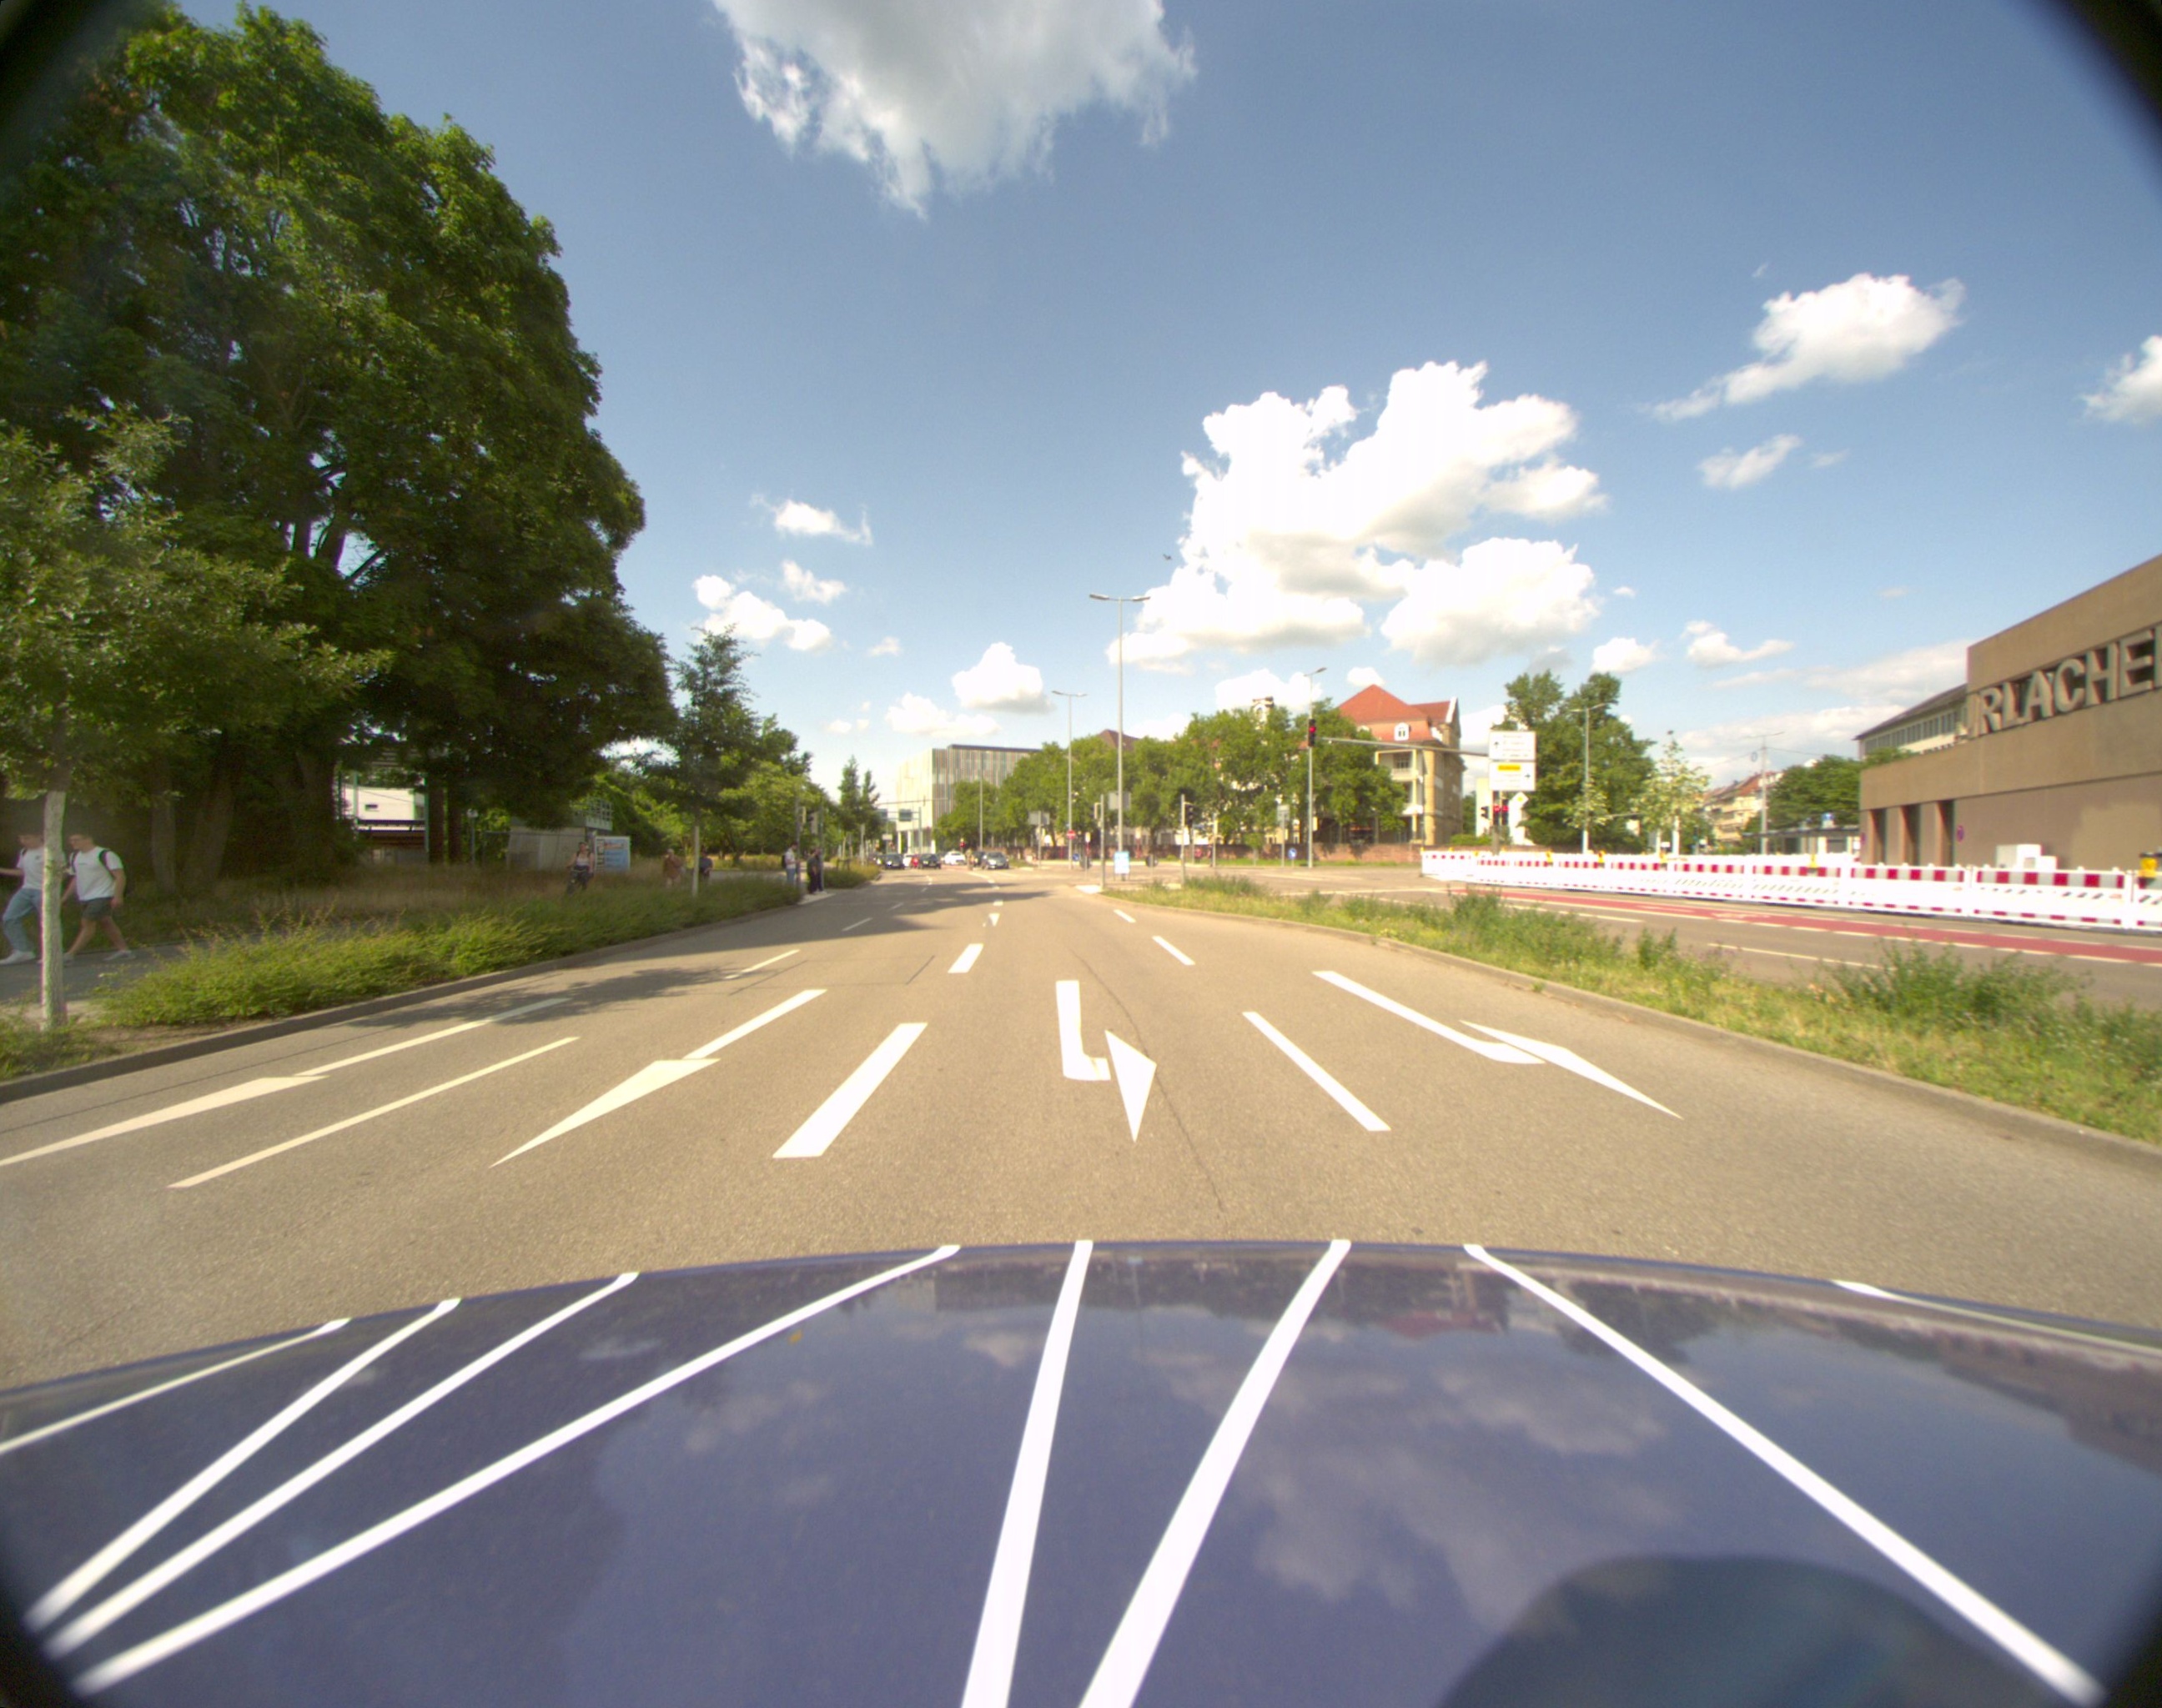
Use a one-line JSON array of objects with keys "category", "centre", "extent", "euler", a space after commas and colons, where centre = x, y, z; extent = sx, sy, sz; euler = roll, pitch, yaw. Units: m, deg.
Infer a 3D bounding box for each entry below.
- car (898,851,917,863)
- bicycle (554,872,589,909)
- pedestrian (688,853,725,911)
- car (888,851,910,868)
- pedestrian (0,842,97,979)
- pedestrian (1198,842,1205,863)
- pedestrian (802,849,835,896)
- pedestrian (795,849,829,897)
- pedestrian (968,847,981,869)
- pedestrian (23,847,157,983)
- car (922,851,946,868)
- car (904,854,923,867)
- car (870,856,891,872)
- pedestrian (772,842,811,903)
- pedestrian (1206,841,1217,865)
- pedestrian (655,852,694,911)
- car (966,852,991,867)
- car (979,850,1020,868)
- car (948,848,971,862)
[{"category": "car", "centre": [-18.435, 0.307, 80.709], "extent": [1.910, 1.127, 4.097], "euler": [-1, 1, -13]}, {"category": "bicycle", "centre": [-13.756, 0.965, 20.552], "extent": [0.650, 0.876, 1.817], "euler": [-1, 1, -30]}, {"category": "pedestrian", "centre": [-11.554, 0.837, 23.463], "extent": [0.768, 1.725, 0.718], "euler": [-2, 2, -8]}, {"category": "car", "centre": [-16.179, 0.477, 67.449], "extent": [1.827, 1.455, 3.995], "euler": [-1, 1, -14]}, {"category": "pedestrian", "centre": [-13.738, 0.699, 9.924], "extent": [0.616, 1.690, 0.889], "euler": [2, 2, -5]}, {"category": "pedestrian", "centre": [10.229, -0.115, 64.612], "extent": [0.368, 1.722, 0.451], "euler": [-1, 2, 34]}, {"category": "pedestrian", "centre": [-10.066, 0.699, 29.154], "extent": [0.928, 1.725, 0.768], "euler": [-2, 2, -2]}, {"category": "pedestrian", "centre": [-10.025, 0.699, 28.378], "extent": [0.928, 1.725, 0.768], "euler": [-2, 2, -2]}, {"category": "pedestrian", "centre": [-8.497, 0.316, 60.660], "extent": [0.739, 1.704, 0.874], "euler": [-3, 2, -22]}, {"category": "pedestrian", "centre": [-13.013, 0.764, 10.011], "extent": [0.616, 1.690, 0.889], "euler": [2, 2, -5]}, {"category": "car", "centre": [-13.110, 0.453, 67.472], "extent": [1.828, 1.455, 3.994], "euler": [-1, 1, -15]}, {"category": "car", "centre": [-16.186, 0.585, 73.341], "extent": [1.599, 1.127, 3.624], "euler": [-2, 1, -16]}, {"category": "car", "centre": [-19.584, 0.955, 74.221], "extent": [1.827, 1.455, 3.995], "euler": [-1, 1, -13]}, {"category": "pedestrian", "centre": [-9.825, 0.611, 25.794], "extent": [0.965, 2.002, 0.768], "euler": [-2, 2, -2]}, {"category": "pedestrian", "centre": [10.846, -0.105, 63.043], "extent": [0.582, 1.982, 0.621], "euler": [-3, 2, -27]}, {"category": "pedestrian", "centre": [-12.356, 0.815, 23.118], "extent": [0.768, 1.725, 0.718], "euler": [-2, 2, -8]}, {"category": "car", "centre": [-9.647, 0.519, 71.375], "extent": [1.735, 1.327, 3.783], "euler": [-2, 1, -15]}, {"category": "car", "centre": [-6.762, 0.385, 62.614], "extent": [2.002, 1.368, 4.260], "euler": [-2, 1, -26]}, {"category": "car", "centre": [-13.275, 0.081, 83.066], "extent": [1.781, 1.347, 3.993], "euler": [-2, 1, -18]}]
